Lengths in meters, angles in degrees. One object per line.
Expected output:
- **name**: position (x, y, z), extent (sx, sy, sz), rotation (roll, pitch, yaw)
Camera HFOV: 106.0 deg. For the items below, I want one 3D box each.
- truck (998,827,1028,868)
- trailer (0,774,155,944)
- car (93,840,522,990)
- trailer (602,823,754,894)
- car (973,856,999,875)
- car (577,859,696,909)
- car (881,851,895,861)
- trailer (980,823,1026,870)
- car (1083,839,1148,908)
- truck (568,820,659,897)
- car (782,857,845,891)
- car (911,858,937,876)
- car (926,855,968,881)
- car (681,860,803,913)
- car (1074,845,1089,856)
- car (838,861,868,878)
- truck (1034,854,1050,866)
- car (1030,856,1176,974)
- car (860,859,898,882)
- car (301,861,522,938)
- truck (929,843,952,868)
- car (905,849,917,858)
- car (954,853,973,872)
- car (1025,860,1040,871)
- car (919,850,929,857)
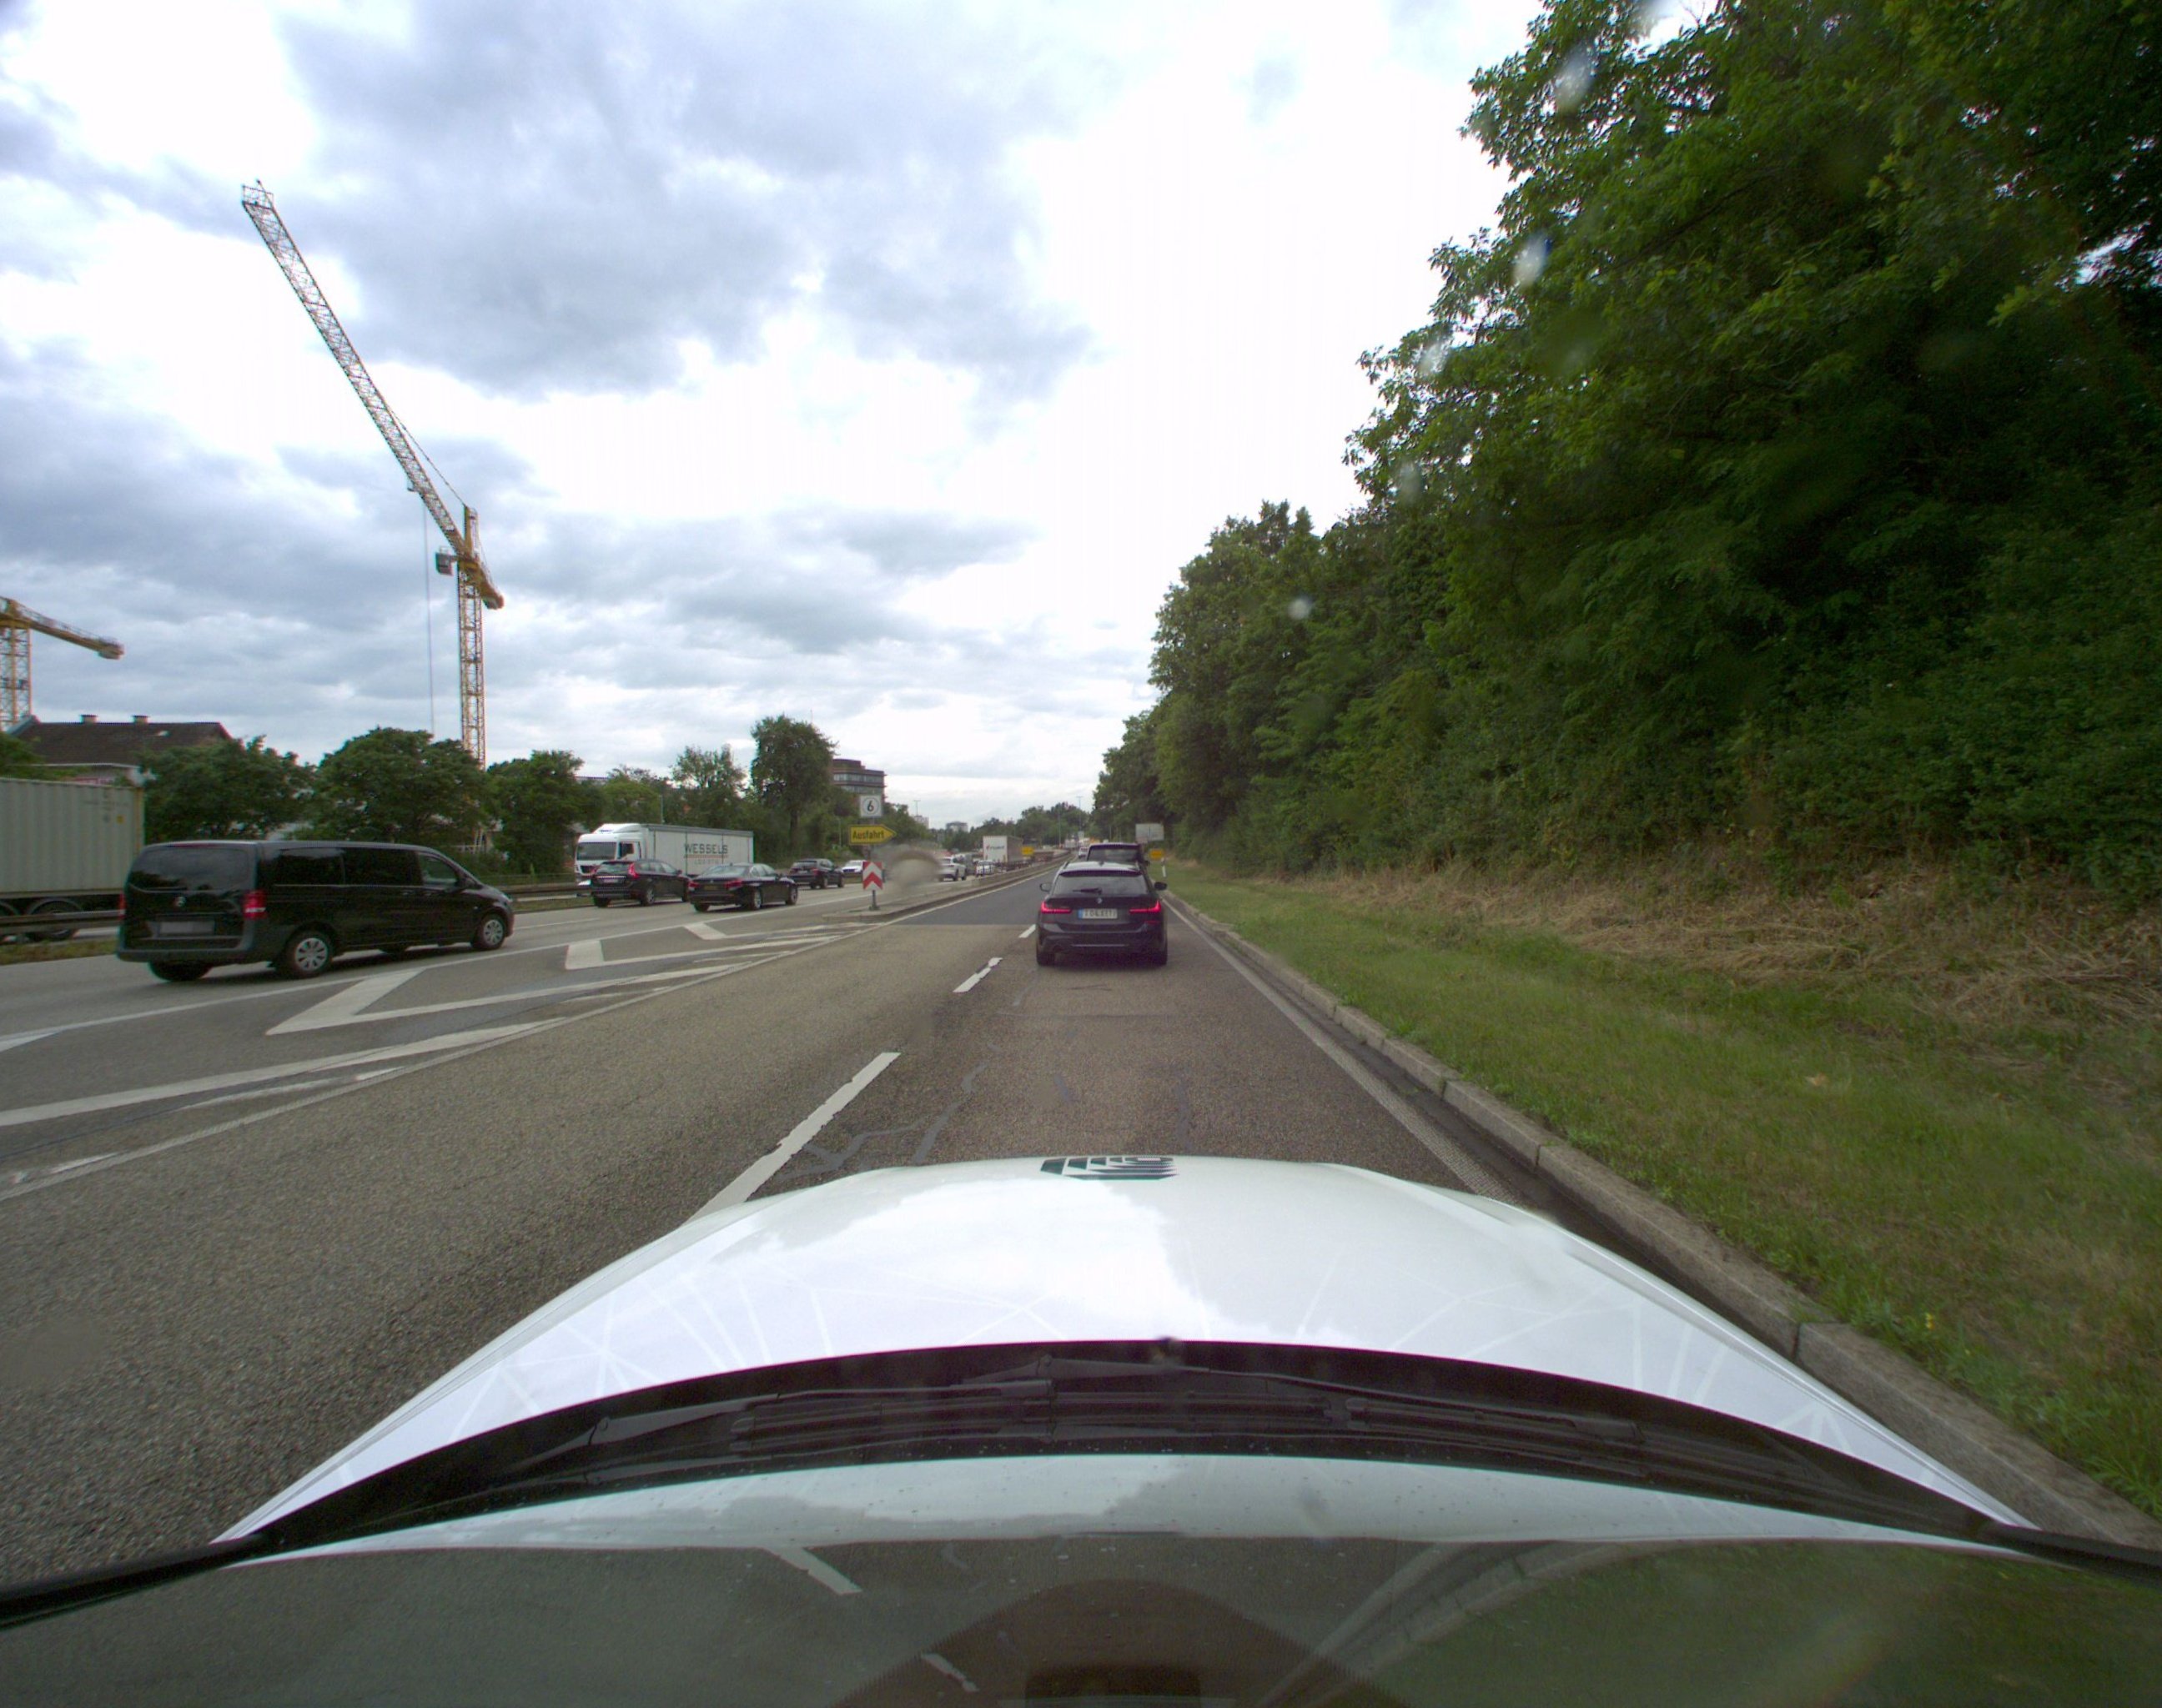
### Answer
- **truck**: position (-7.971, -0.705, 95.752), extent (3.072, 4.698, 4.234), rotation (0, 0, 2)
- **trailer**: position (-26.967, 0.149, 15.922), extent (2.388, 4.029, 13.084), rotation (-1, 0, 2)
- **car**: position (-11.339, 0.761, 12.605), extent (1.987, 1.851, 4.812), rotation (-1, 0, 1)
- **trailer**: position (-25.519, 0.250, 52.888), extent (2.584, 3.982, 13.788), rotation (-1, 0, 2)
- **car**: position (-8.437, 1.013, 72.623), extent (1.762, 1.549, 3.493), rotation (-1, 0, 1)
- **car**: position (-15.707, 1.005, 29.078), extent (1.745, 1.635, 4.269), rotation (-1, 0, 2)
- **car**: position (-32.169, 0.305, 135.603), extent (1.432, 1.574, 3.245), rotation (-1, 0, 2)
- **trailer**: position (-8.259, -0.732, 88.249), extent (3.121, 4.725, 14.565), rotation (0, 0, 2)
- **car**: position (1.039, 0.548, 24.520), extent (1.789, 1.872, 4.002), rotation (-1, 0, 2)
- **truck**: position (-25.762, 0.254, 45.081), extent (2.586, 3.990, 4.002), rotation (-1, 0, 2)
- **car**: position (-14.575, 1.044, 44.629), extent (1.884, 1.681, 4.307), rotation (-1, 0, 1)
- **car**: position (-14.936, 1.212, 77.624), extent (1.681, 1.632, 3.735), rotation (0, 0, 1)
- **car**: position (-9.224, 0.951, 56.260), extent (1.938, 1.692, 4.510), rotation (-1, 0, 2)
- **car**: position (-10.583, 0.963, 25.821), extent (1.706, 1.457, 4.670), rotation (-1, 0, 3)
- **car**: position (0.125, -0.464, 120.835), extent (1.922, 1.596, 3.880), rotation (-1, 0, 3)
- **car**: position (-20.823, 1.420, 74.532), extent (1.671, 1.478, 3.709), rotation (-1, 0, 1)
- **truck**: position (-9.122, 1.410, 191.109), extent (3.262, 2.509, 7.663), rotation (-1, 0, 2)
- **car**: position (0.301, 0.787, 12.386), extent (1.840, 1.467, 4.000), rotation (-1, 0, 0)
- **car**: position (-14.547, 1.184, 58.890), extent (1.681, 1.608, 4.009), rotation (0, 0, 1)
- **car**: position (-15.510, 0.979, 19.171), extent (1.759, 1.567, 3.948), rotation (-1, 0, 3)
- **truck**: position (-23.892, 0.216, 138.334), extent (2.752, 4.064, 4.909), rotation (-1, 0, 2)
- **car**: position (-32.563, -0.088, 155.966), extent (1.432, 1.586, 3.245), rotation (-1, 0, 2)
- **car**: position (-13.081, 0.876, 90.863), extent (1.437, 2.044, 3.683), rotation (-1, 0, 3)
- **car**: position (-6.996, 1.649, 117.486), extent (1.695, 1.528, 3.471), rotation (-1, 0, 2)
- **car**: position (-33.332, -0.102, 172.864), extent (1.433, 1.446, 3.243), rotation (-1, 0, 0)
